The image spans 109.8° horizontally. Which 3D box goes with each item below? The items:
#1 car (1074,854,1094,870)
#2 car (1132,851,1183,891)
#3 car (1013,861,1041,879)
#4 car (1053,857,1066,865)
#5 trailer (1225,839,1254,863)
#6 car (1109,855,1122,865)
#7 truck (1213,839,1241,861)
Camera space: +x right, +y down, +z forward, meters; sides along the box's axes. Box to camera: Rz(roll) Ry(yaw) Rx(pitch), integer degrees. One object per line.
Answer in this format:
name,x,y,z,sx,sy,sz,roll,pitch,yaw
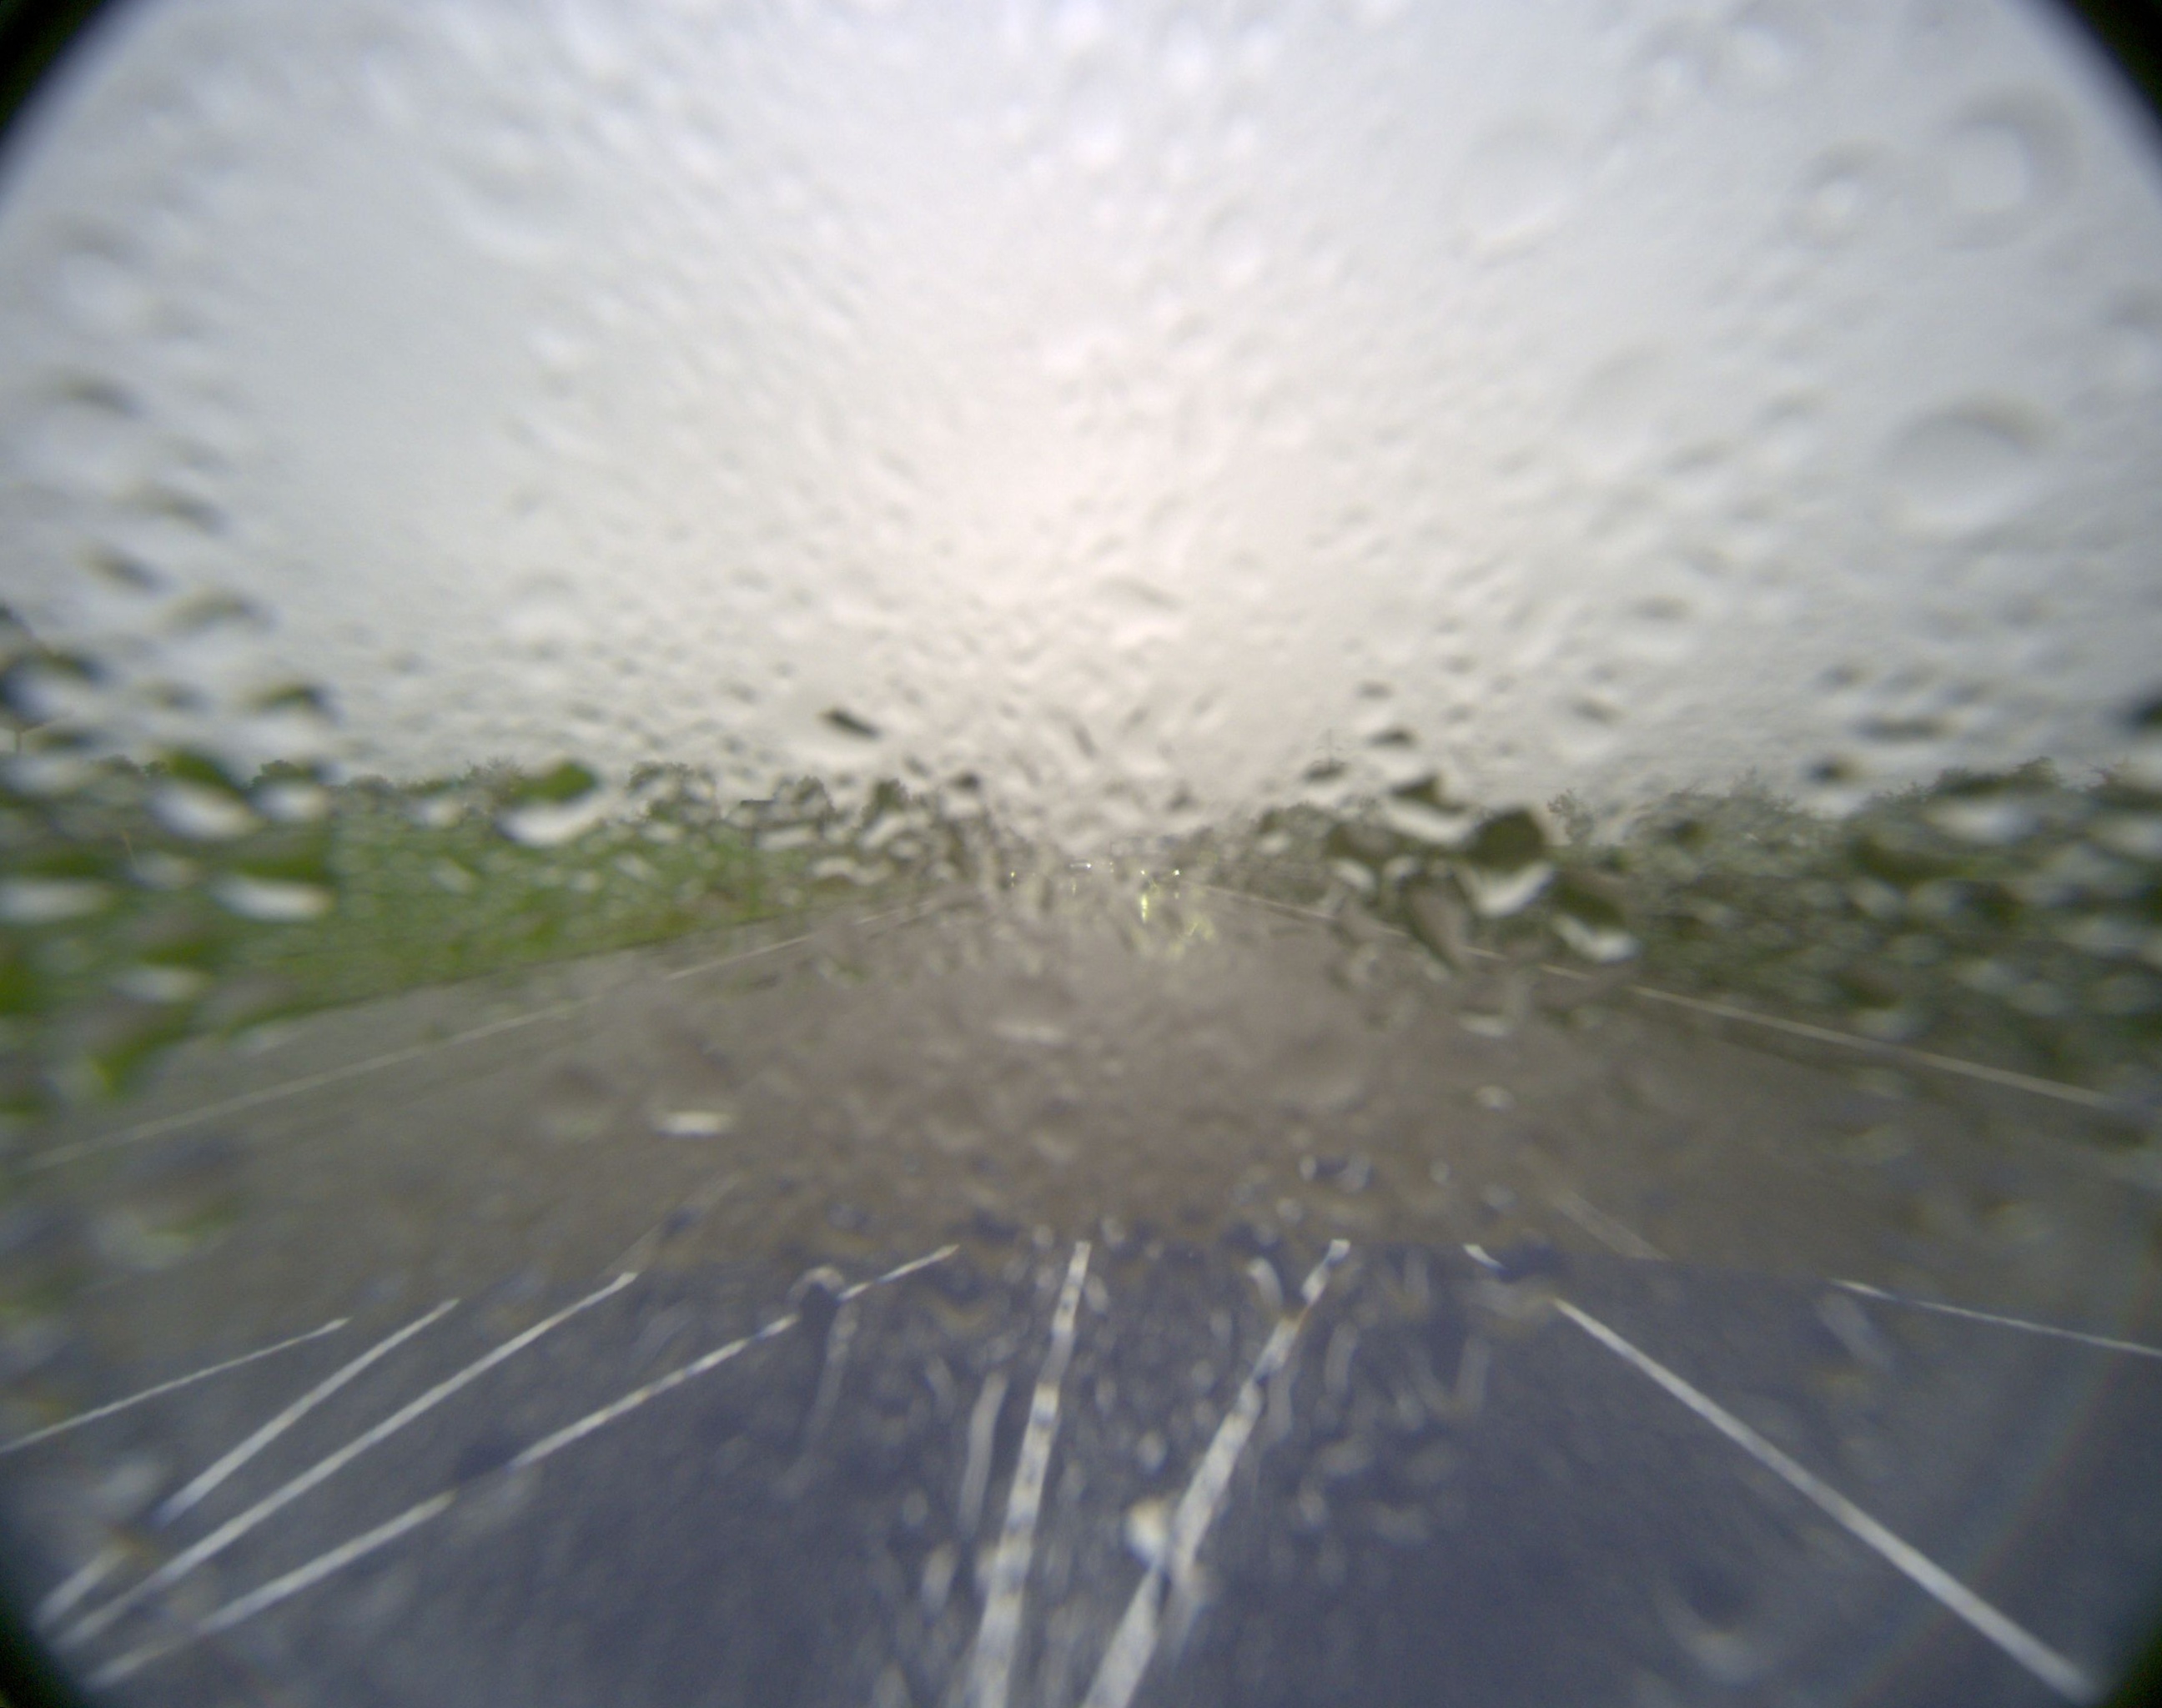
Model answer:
car,0.281,0.730,70.313,1.753,1.406,3.999,-2,1,0
car,3.599,0.750,36.539,2.047,1.763,4.500,-1,1,1
car,-3.922,1.155,55.991,1.753,1.205,3.999,-2,1,0
car,-3.337,1.066,117.555,1.753,1.205,3.999,-2,1,0
trailer,21.753,-0.451,104.484,2.252,3.047,8.264,-2,1,1
car,5.127,0.860,112.401,1.753,1.369,4.000,-2,0,0
truck,21.856,-0.577,113.940,2.245,3.019,10.615,-2,1,1
